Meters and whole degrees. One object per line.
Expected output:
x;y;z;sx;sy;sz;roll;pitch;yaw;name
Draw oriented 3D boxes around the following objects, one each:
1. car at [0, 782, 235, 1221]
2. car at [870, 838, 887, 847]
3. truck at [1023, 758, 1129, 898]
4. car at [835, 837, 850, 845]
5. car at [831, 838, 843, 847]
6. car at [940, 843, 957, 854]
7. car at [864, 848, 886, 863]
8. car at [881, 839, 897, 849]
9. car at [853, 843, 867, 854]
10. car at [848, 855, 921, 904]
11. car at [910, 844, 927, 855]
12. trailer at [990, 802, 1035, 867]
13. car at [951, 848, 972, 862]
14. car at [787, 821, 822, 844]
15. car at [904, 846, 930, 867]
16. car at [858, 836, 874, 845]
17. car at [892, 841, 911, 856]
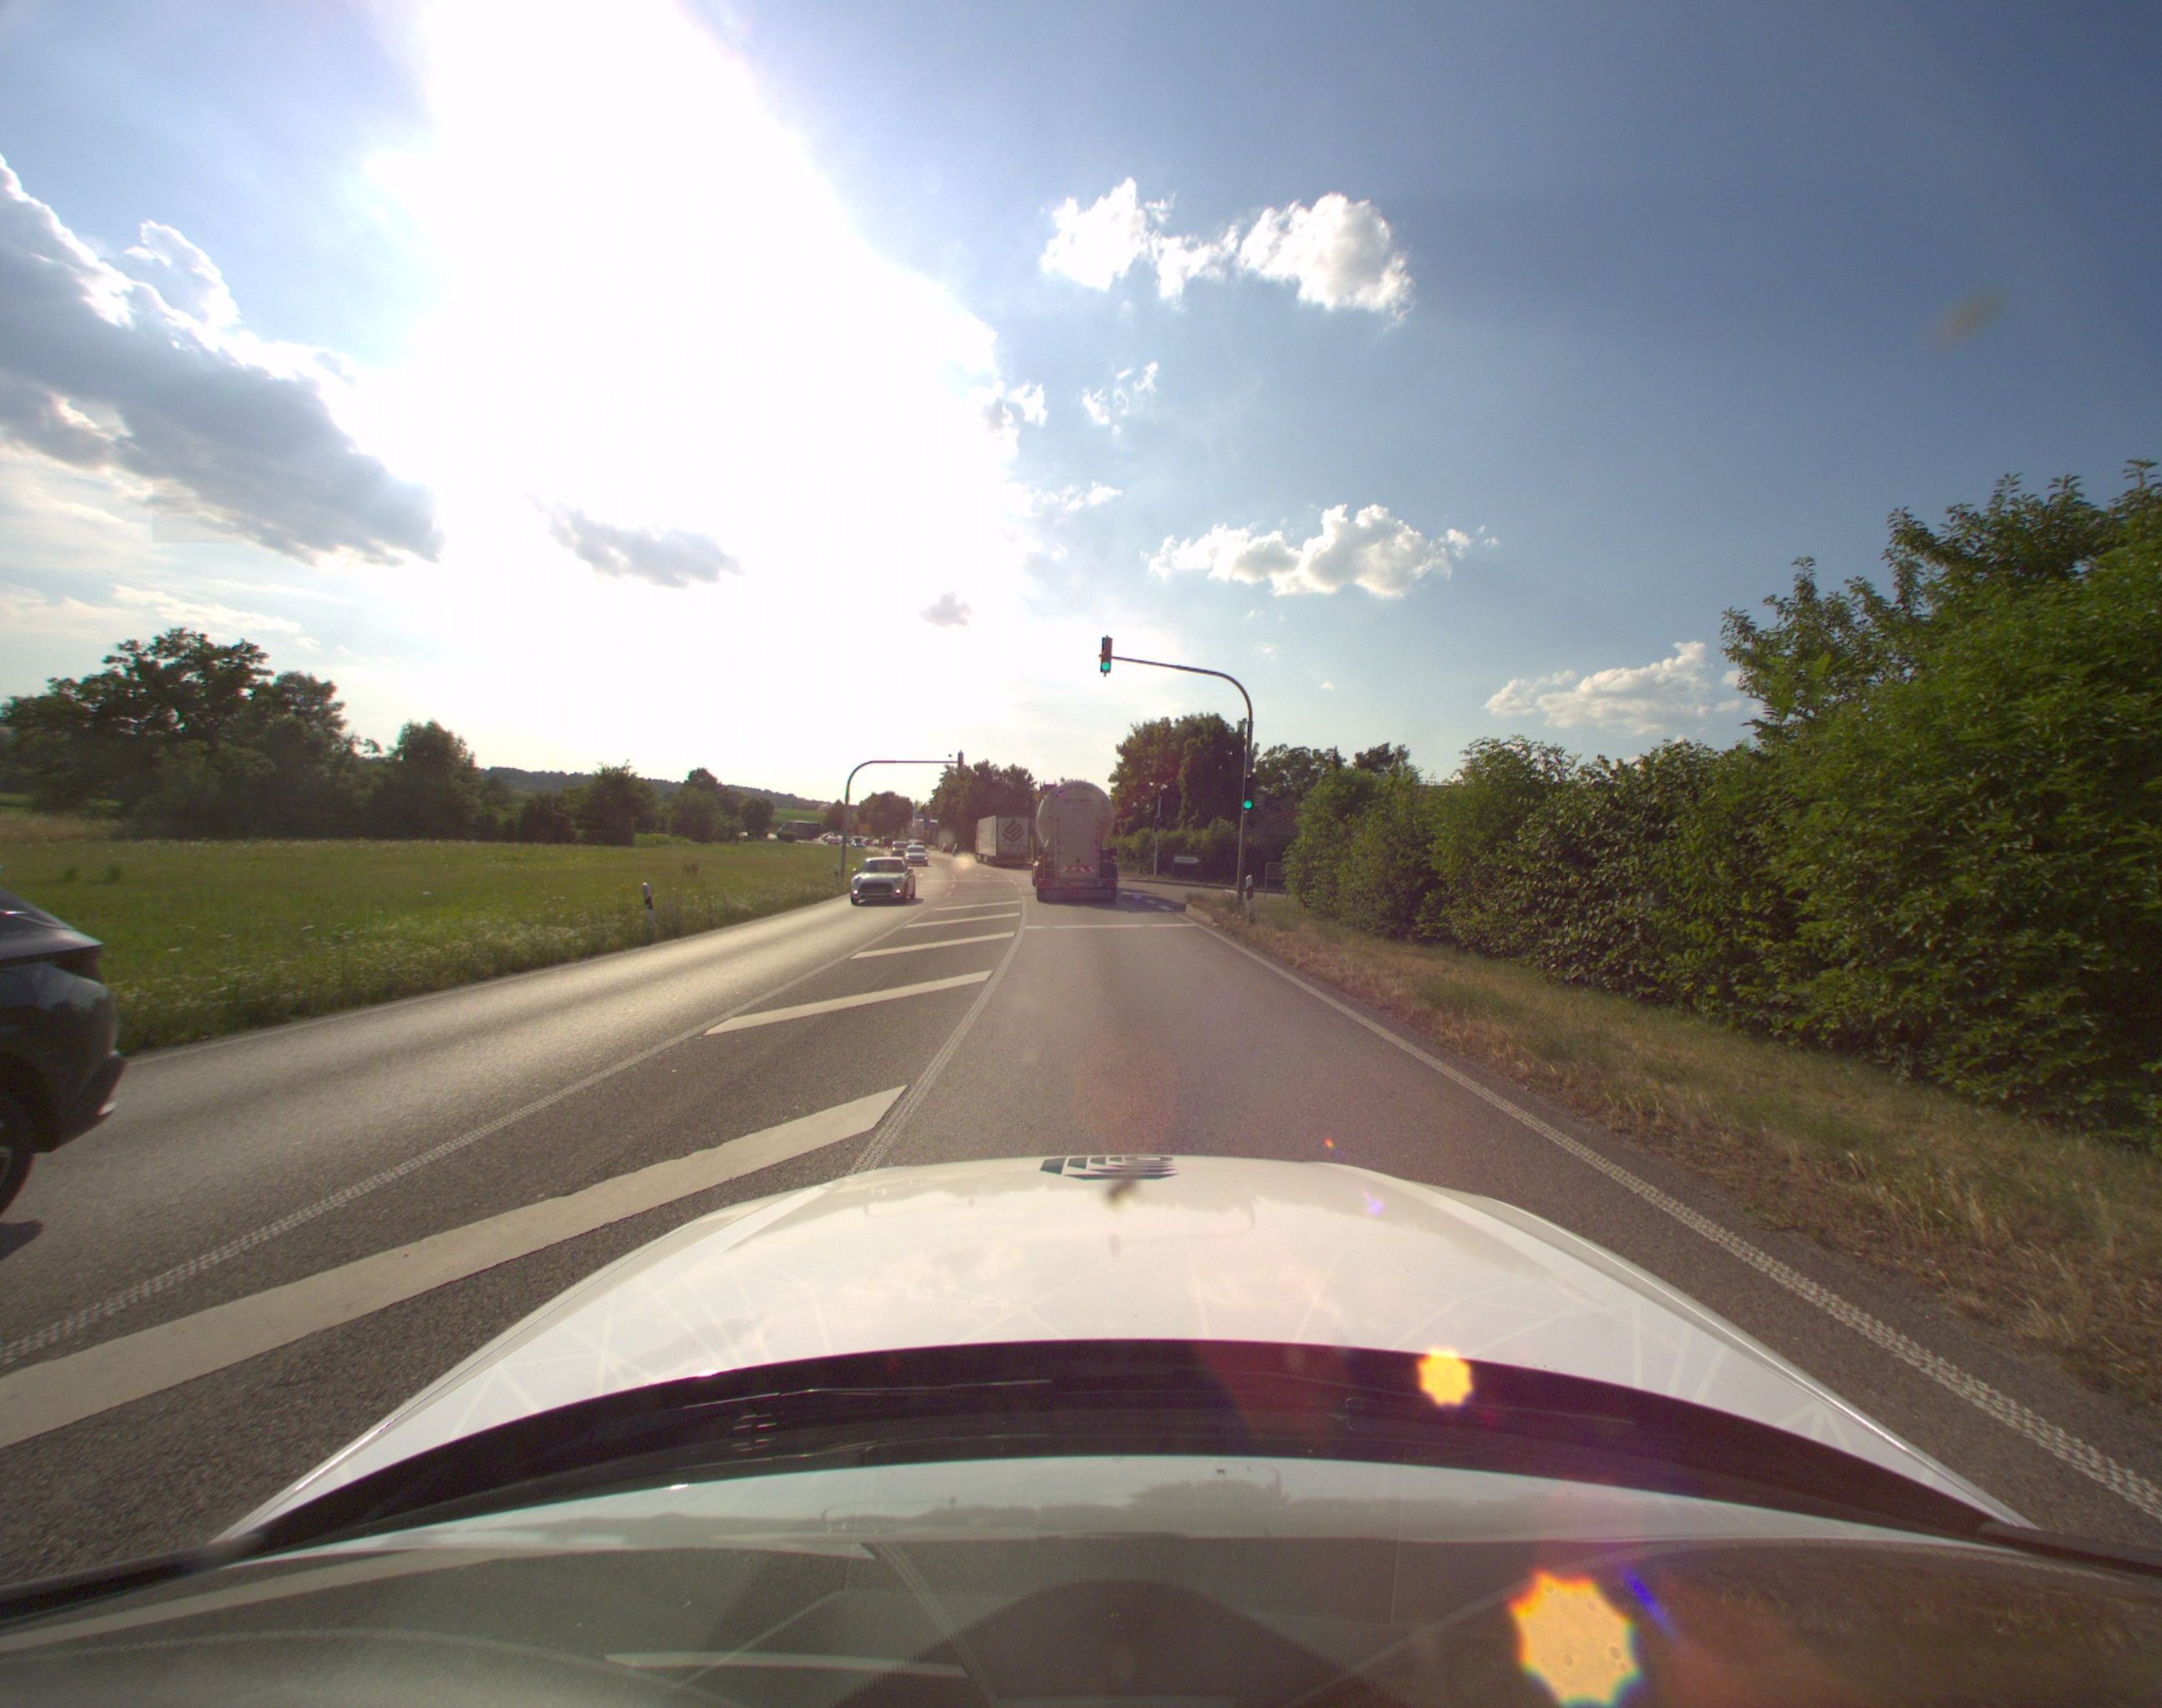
-5.199;0.581;1.840;1.988;1.725;4.423;1;1;-2;car
-37.120;-2.095;149.477;2.097;1.599;3.963;1;0;-29;car
-0.551;-0.663;30.292;2.971;4.176;11.640;1;-1;-5;truck
-49.212;-2.705;167.955;1.896;1.599;3.956;1;0;-36;car
-44.896;-2.181;149.822;1.888;1.599;3.973;1;0;-20;car
-19.478;-0.818;119.425;1.689;1.468;3.973;1;-1;-20;car
-23.104;0.190;91.253;1.888;1.599;3.973;1;0;-20;car
-33.632;-1.757;142.522;1.890;1.599;3.968;1;0;-24;car
-35.703;-0.910;131.463;1.888;1.599;3.973;1;0;-20;car
-6.231;0.760;26.205;1.717;1.436;3.743;-1;0;-5;car
-24.309;-0.634;121.827;1.887;1.599;3.975;1;0;-18;car
-5.767;-1.373;66.618;2.963;4.882;10.256;1;-1;-9;trailer
-15.242;0.139;103.569;1.999;1.656;3.975;1;-1;-18;car
-63.844;-4.854;187.592;3.569;5.059;13.095;1;0;-37;car
-13.313;0.162;66.071;1.884;1.599;3.982;1;0;-13;car
-41.094;-2.550;155.672;1.893;1.599;3.962;1;0;-30;car
-20.294;-0.594;91.904;1.885;1.599;3.979;1;0;-15;car
